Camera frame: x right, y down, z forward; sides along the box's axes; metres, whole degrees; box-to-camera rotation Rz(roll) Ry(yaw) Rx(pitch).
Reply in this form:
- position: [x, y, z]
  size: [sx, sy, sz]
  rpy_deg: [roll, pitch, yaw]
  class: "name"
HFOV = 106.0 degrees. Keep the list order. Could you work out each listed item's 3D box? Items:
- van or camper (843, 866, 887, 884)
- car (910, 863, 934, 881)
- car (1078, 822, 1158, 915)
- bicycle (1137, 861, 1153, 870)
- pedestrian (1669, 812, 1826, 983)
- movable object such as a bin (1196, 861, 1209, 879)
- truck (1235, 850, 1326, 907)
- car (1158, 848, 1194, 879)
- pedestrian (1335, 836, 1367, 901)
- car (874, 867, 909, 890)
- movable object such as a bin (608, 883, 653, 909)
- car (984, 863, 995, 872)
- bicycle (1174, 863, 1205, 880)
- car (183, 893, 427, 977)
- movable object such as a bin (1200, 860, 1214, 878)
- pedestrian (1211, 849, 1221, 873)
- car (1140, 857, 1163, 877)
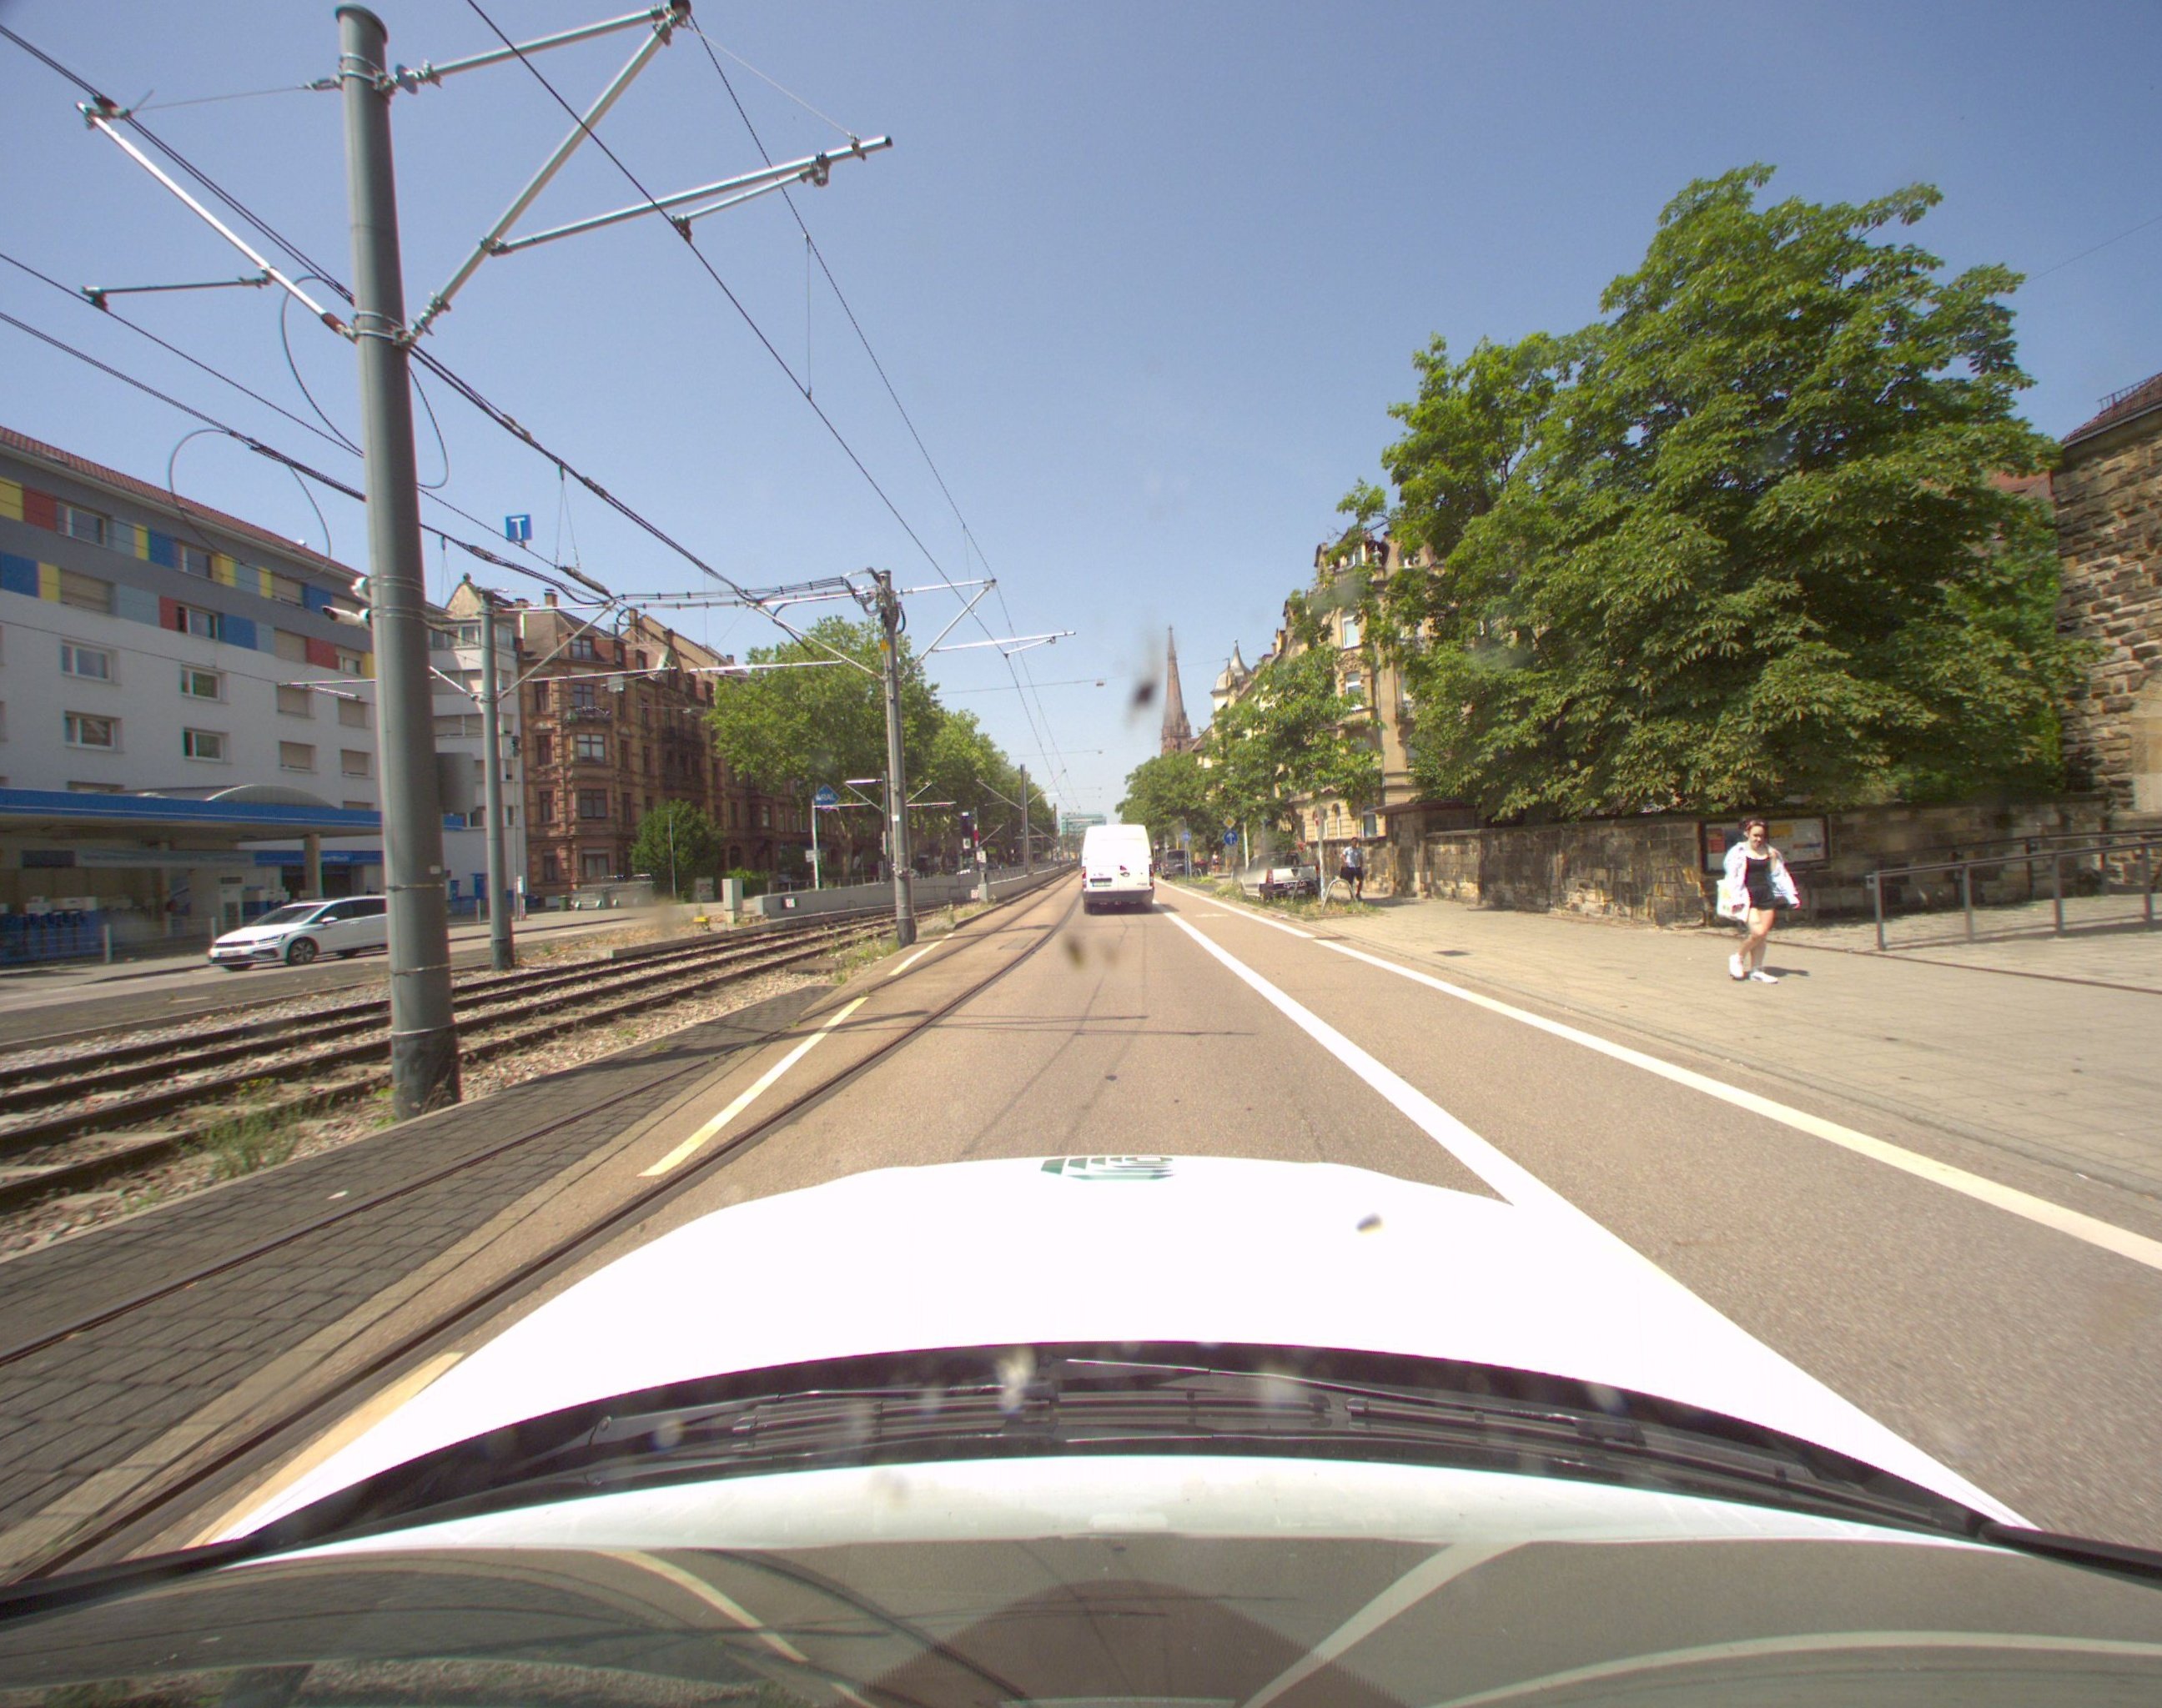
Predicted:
- position: [-25.775, 2.471, 97.187]
  size: [4.520, 1.836, 1.936]
  rpy_deg: [-3, 0, 6]
  class: "van or camper"
- position: [-16.137, 1.828, 82.700]
  size: [1.648, 1.684, 3.707]
  rpy_deg: [-3, 0, 0]
  class: "car"
- position: [1.031, 0.403, 24.973]
  size: [2.110, 2.459, 5.054]
  rpy_deg: [-3, 0, 0]
  class: "car"
- position: [7.494, 1.314, 95.487]
  size: [1.835, 0.953, 0.503]
  rpy_deg: [-3, 0, 2]
  class: "bicycle"
- position: [6.898, 0.427, 8.489]
  size: [0.790, 1.650, 0.967]
  rpy_deg: [-2, 0, 3]
  class: "pedestrian"
- position: [7.486, 0.974, 50.383]
  size: [0.742, 1.062, 0.497]
  rpy_deg: [-3, 0, 7]
  class: "movable object such as a bin"
- position: [6.013, 0.690, 25.037]
  size: [1.783, 1.526, 4.467]
  rpy_deg: [-3, 0, 2]
  class: "truck"
- position: [6.470, 0.656, 55.884]
  size: [1.872, 1.947, 4.837]
  rpy_deg: [-3, 0, 1]
  class: "car"
- position: [7.579, 0.399, 22.905]
  size: [0.618, 1.754, 0.679]
  rpy_deg: [-2, 0, 3]
  class: "pedestrian"
- position: [-17.412, 2.219, 75.137]
  size: [1.987, 1.904, 4.718]
  rpy_deg: [-3, 0, 0]
  class: "car"
- position: [-26.634, 2.500, 48.235]
  size: [1.777, 1.385, 1.469]
  rpy_deg: [-3, 0, -1]
  class: "movable object such as a bin"
- position: [-15.585, 2.247, 139.305]
  size: [1.368, 1.423, 3.089]
  rpy_deg: [-3, 0, 2]
  class: "car"
- position: [6.905, 1.090, 51.831]
  size: [1.880, 0.991, 0.469]
  rpy_deg: [-3, -1, -9]
  class: "bicycle"
- position: [-20.257, 2.032, 21.609]
  size: [1.840, 1.625, 4.604]
  rpy_deg: [-4, 0, 2]
  class: "car"
- position: [7.575, 0.912, 49.044]
  size: [0.783, 1.014, 0.651]
  rpy_deg: [-3, 0, 7]
  class: "movable object such as a bin"
- position: [9.345, 0.465, 56.446]
  size: [0.549, 1.598, 0.728]
  rpy_deg: [-2, 0, 3]
  class: "pedestrian"
- position: [6.037, 1.091, 70.393]
  size: [1.661, 1.530, 4.014]
  rpy_deg: [-3, 0, 1]
  class: "car"
